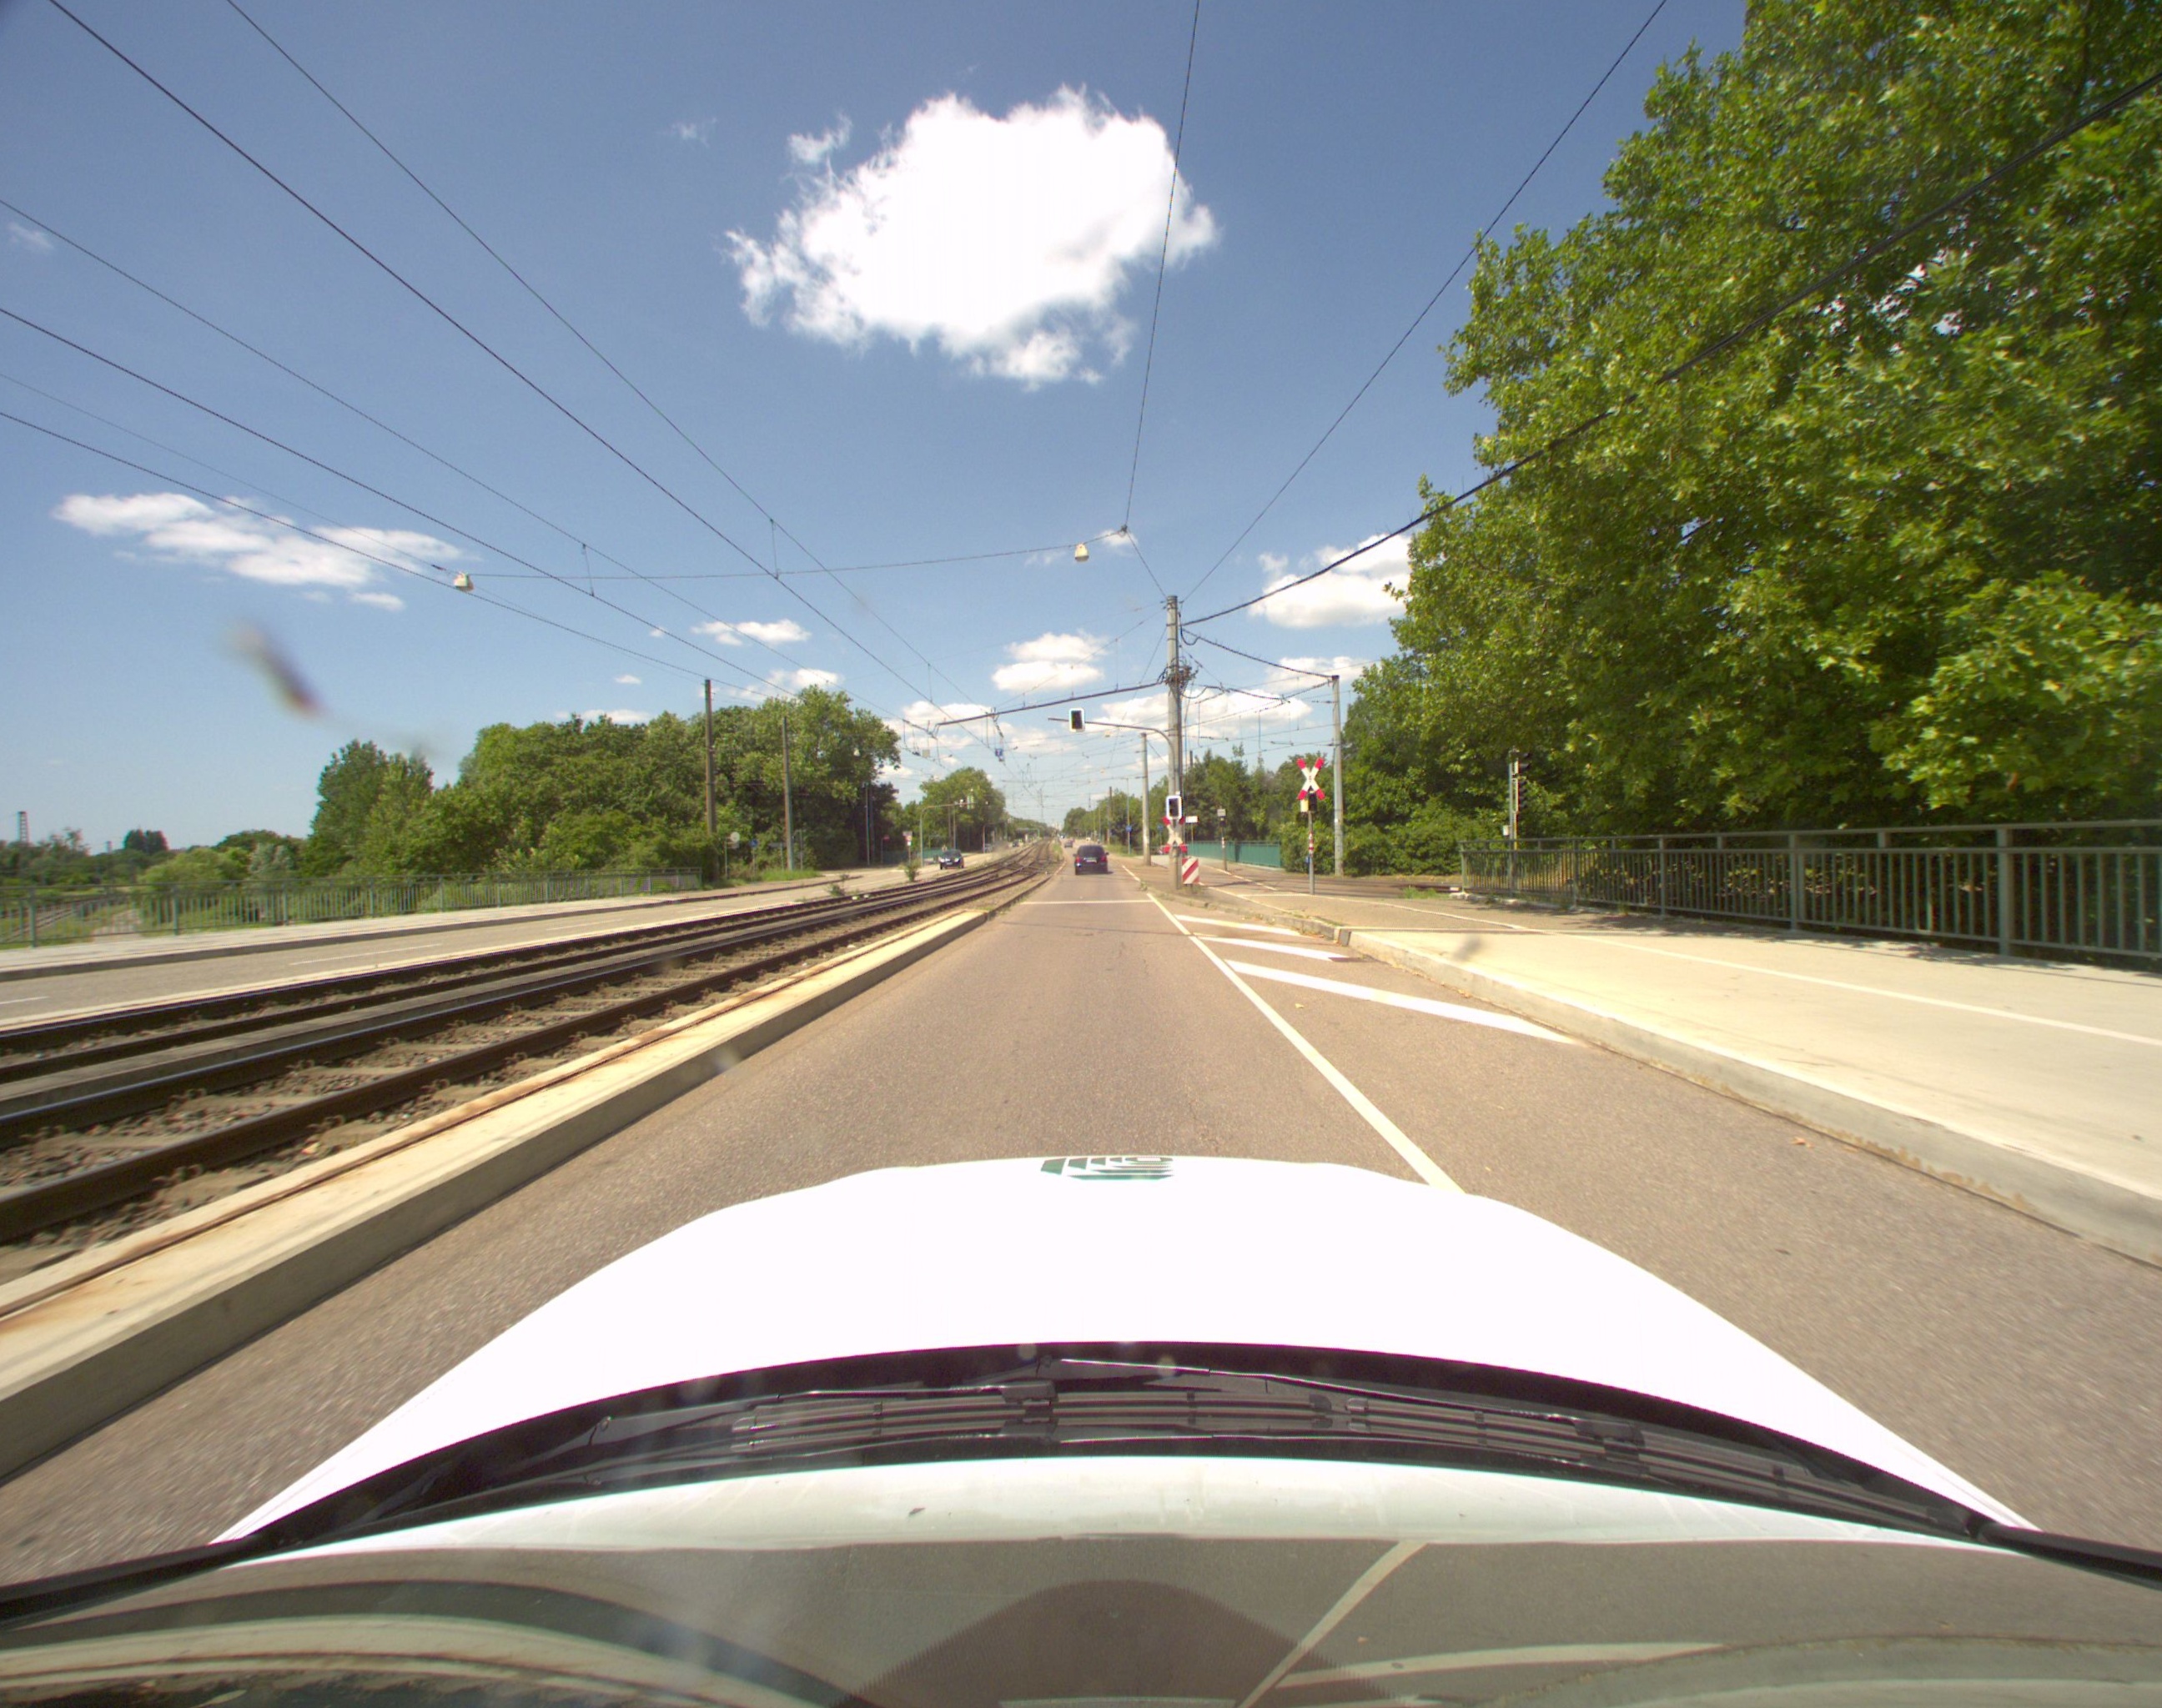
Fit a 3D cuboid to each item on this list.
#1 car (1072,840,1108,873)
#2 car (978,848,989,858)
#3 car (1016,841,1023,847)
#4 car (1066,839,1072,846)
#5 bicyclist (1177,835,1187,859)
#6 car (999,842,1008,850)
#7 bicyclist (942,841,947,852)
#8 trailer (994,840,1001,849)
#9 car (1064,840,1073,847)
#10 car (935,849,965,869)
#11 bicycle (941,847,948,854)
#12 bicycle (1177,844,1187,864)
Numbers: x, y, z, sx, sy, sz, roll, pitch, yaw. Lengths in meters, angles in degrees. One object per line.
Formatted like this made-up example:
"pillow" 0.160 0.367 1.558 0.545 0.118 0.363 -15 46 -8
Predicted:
"car" 0.551 0.084 44.432 1.846 1.569 4.391 -1 3 2
"car" -19.147 -0.180 160.151 1.716 1.630 4.612 -5 3 -3
"car" -19.024 -3.112 250.467 1.870 1.720 5.326 -1 1 -2
"car" -3.420 -3.254 233.221 1.782 2.013 3.998 -1 2 -2
"bicyclist" 6.211 -0.436 50.182 0.583 1.494 0.558 0 2 3
"car" -20.181 -2.135 211.113 1.988 2.013 3.998 -2 0 -1
"bicyclist" -17.927 -0.952 107.066 0.455 1.474 0.633 -1 1 0
"trailer" -20.146 -2.367 196.090 1.607 2.013 3.910 0 2 -5
"car" -2.870 -2.402 185.618 1.877 1.639 4.003 2 2 2
"car" -10.898 0.426 68.000 1.698 1.510 3.736 -2 1 2
"bicycle" -17.919 -0.499 106.948 0.467 0.868 1.743 -1 1 1
"bicycle" 6.214 -0.002 50.168 0.430 1.152 1.857 0 2 3
